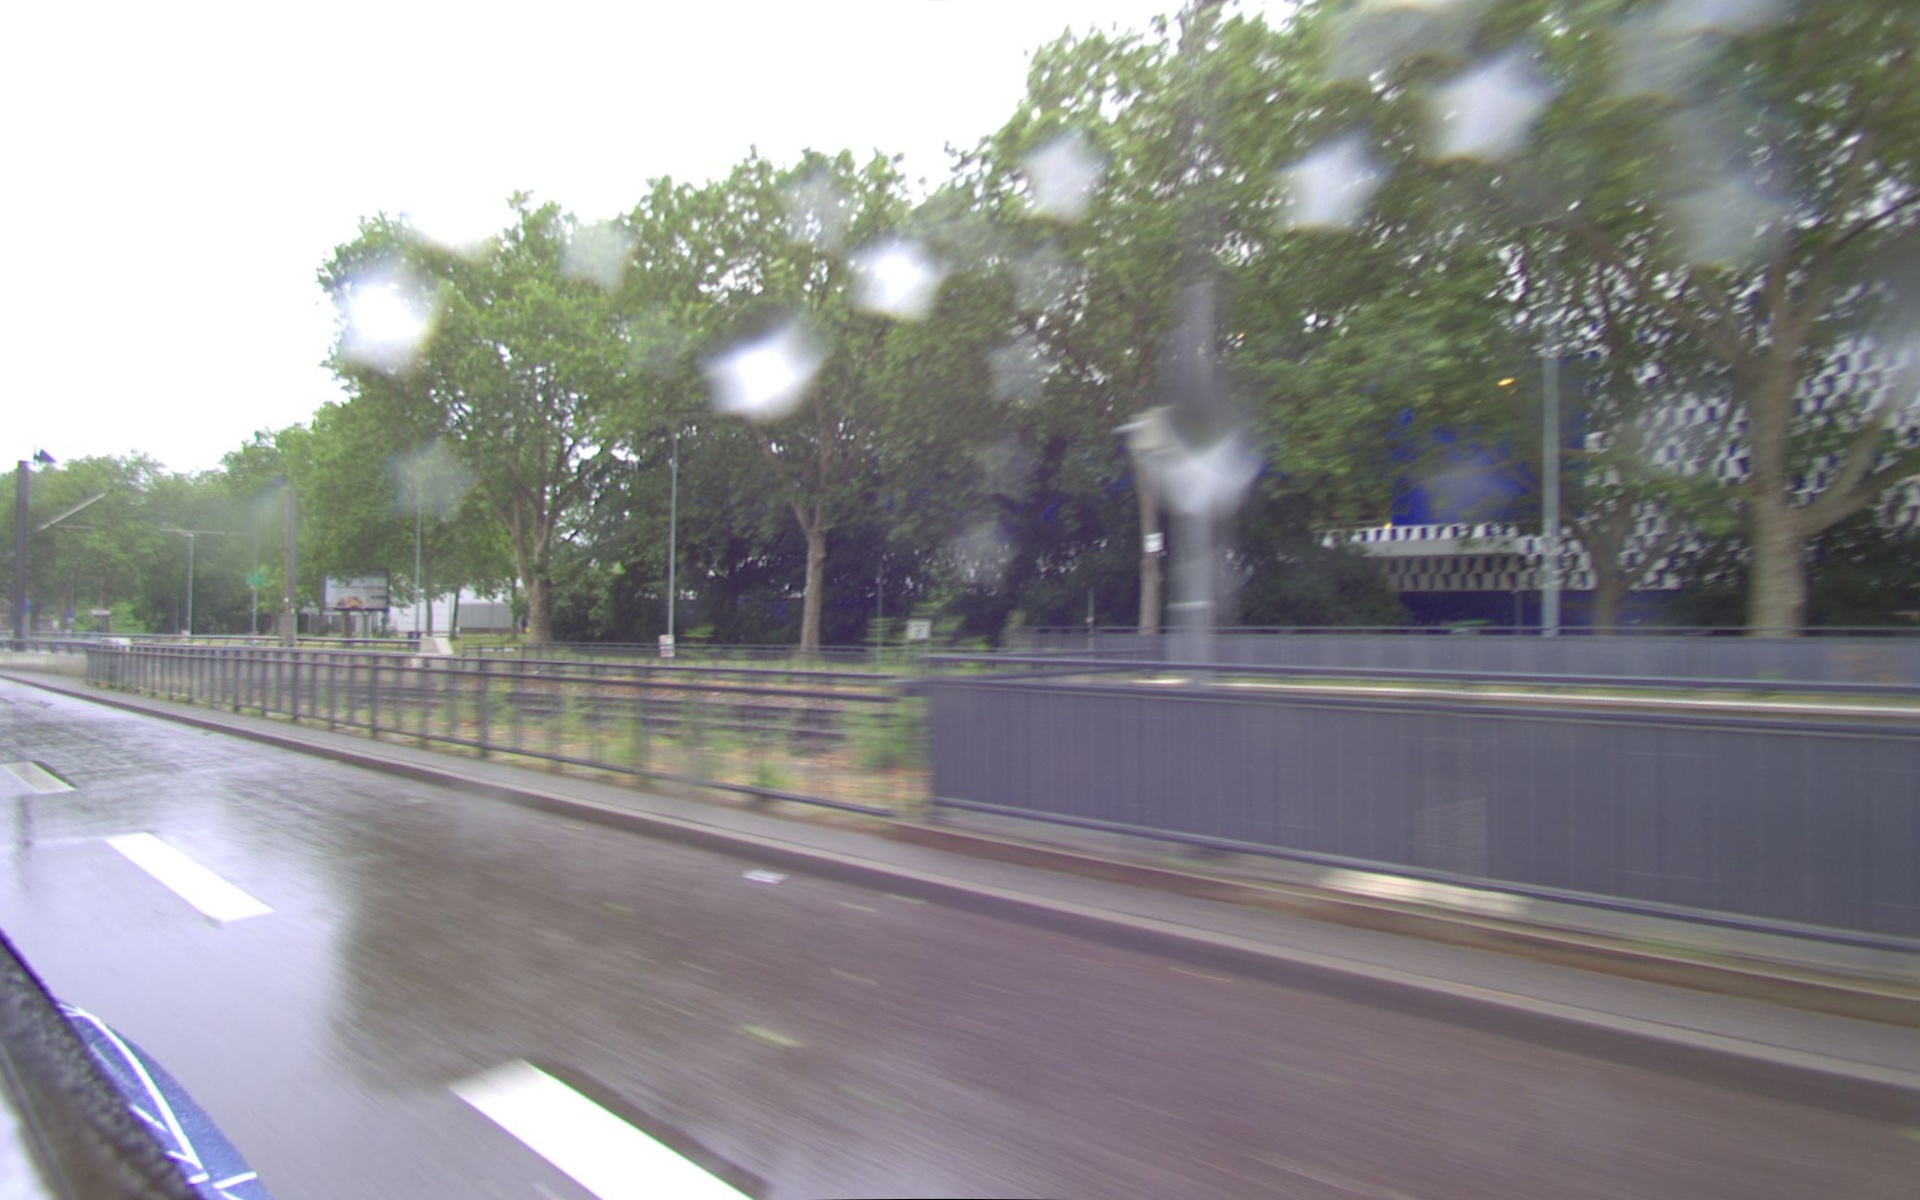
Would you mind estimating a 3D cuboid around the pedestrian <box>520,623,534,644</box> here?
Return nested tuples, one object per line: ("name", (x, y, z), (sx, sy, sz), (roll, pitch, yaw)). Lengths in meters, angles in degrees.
("pedestrian", (-43.053, 3.348, 100.648), (0.789, 2.029, 0.991), (-1, 0, 40))
